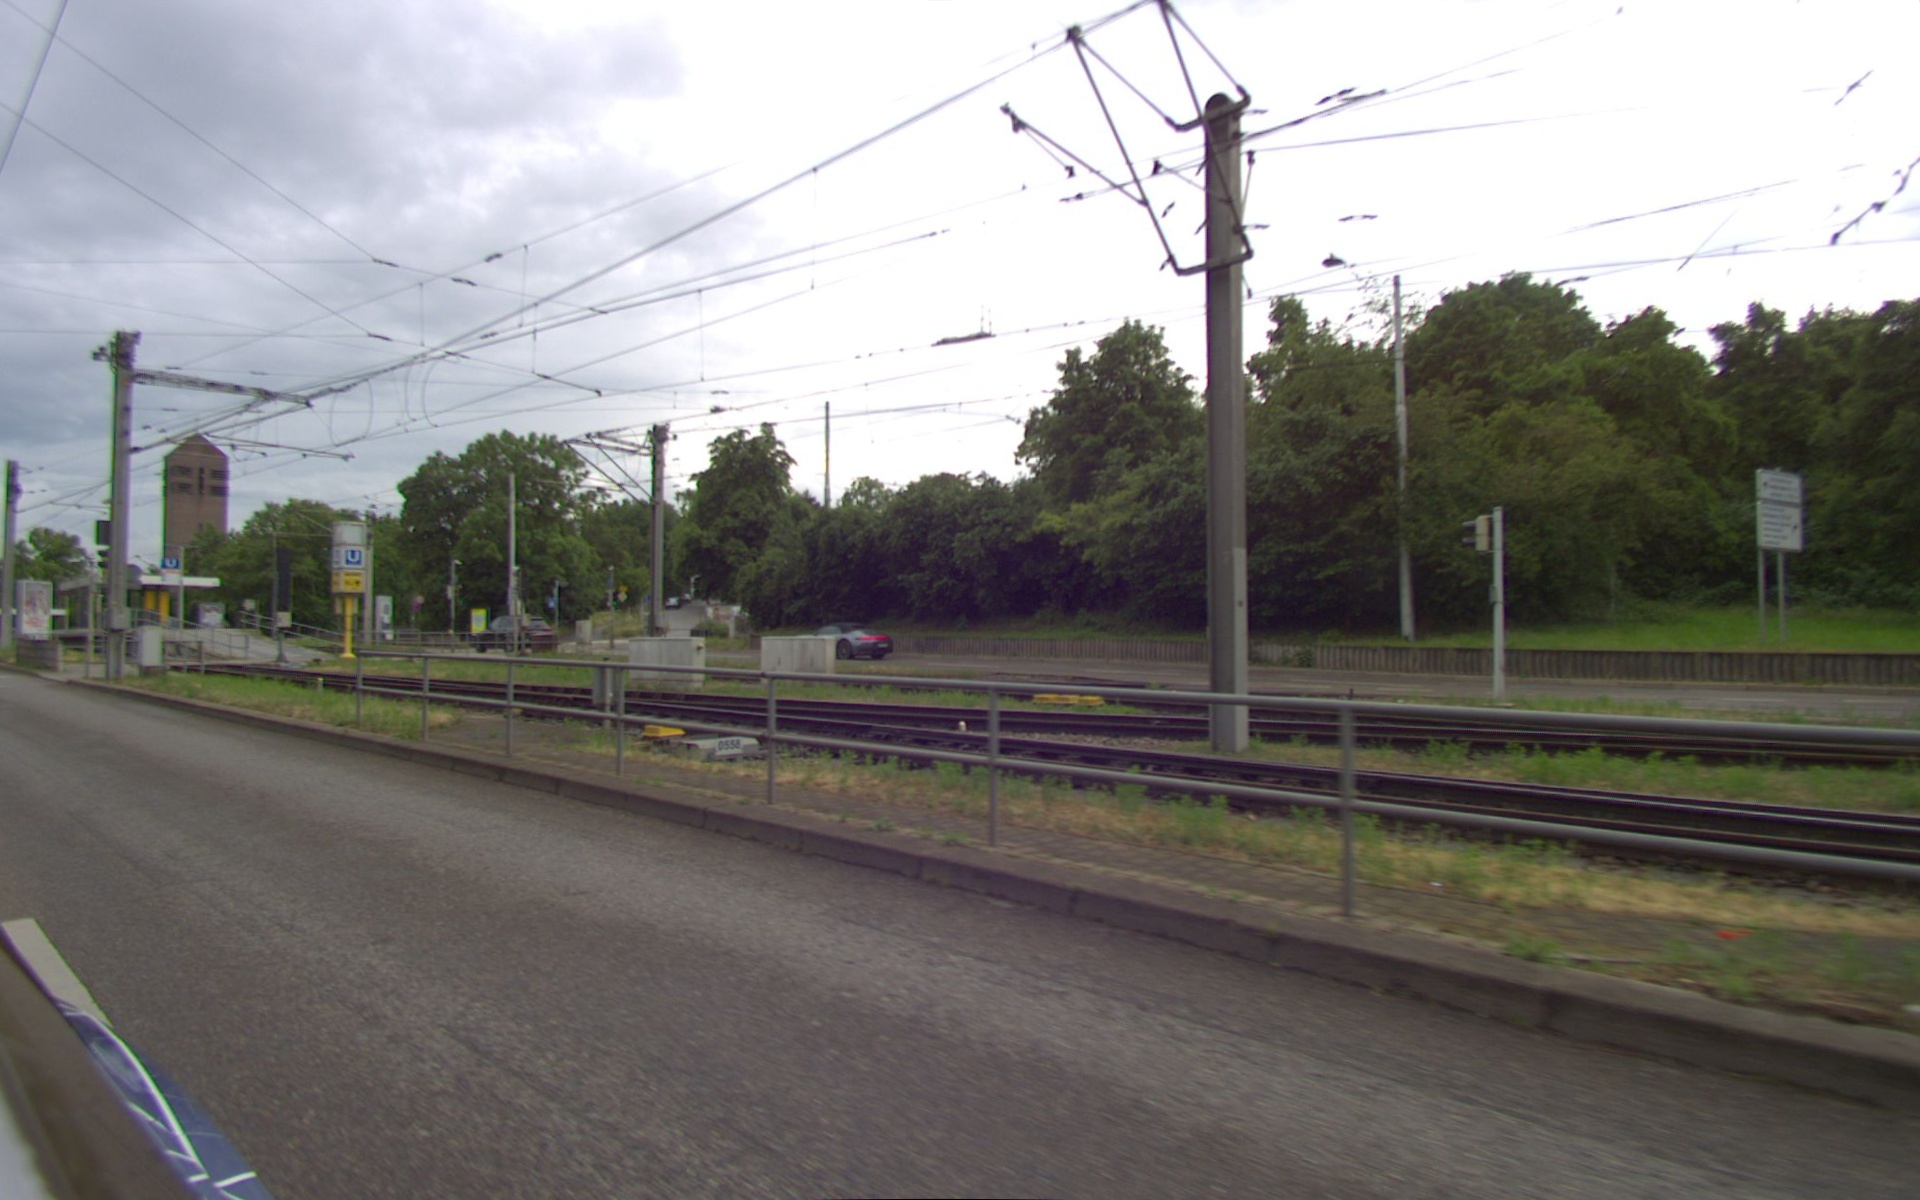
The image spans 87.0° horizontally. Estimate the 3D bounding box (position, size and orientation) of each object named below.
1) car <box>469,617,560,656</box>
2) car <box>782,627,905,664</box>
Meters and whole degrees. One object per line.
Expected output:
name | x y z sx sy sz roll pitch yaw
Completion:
car | -21.138 1.725 47.975 4.859 1.752 2.062 -2 -2 40
car | -4.282 1.614 36.713 4.470 1.271 1.907 -2 -2 40
